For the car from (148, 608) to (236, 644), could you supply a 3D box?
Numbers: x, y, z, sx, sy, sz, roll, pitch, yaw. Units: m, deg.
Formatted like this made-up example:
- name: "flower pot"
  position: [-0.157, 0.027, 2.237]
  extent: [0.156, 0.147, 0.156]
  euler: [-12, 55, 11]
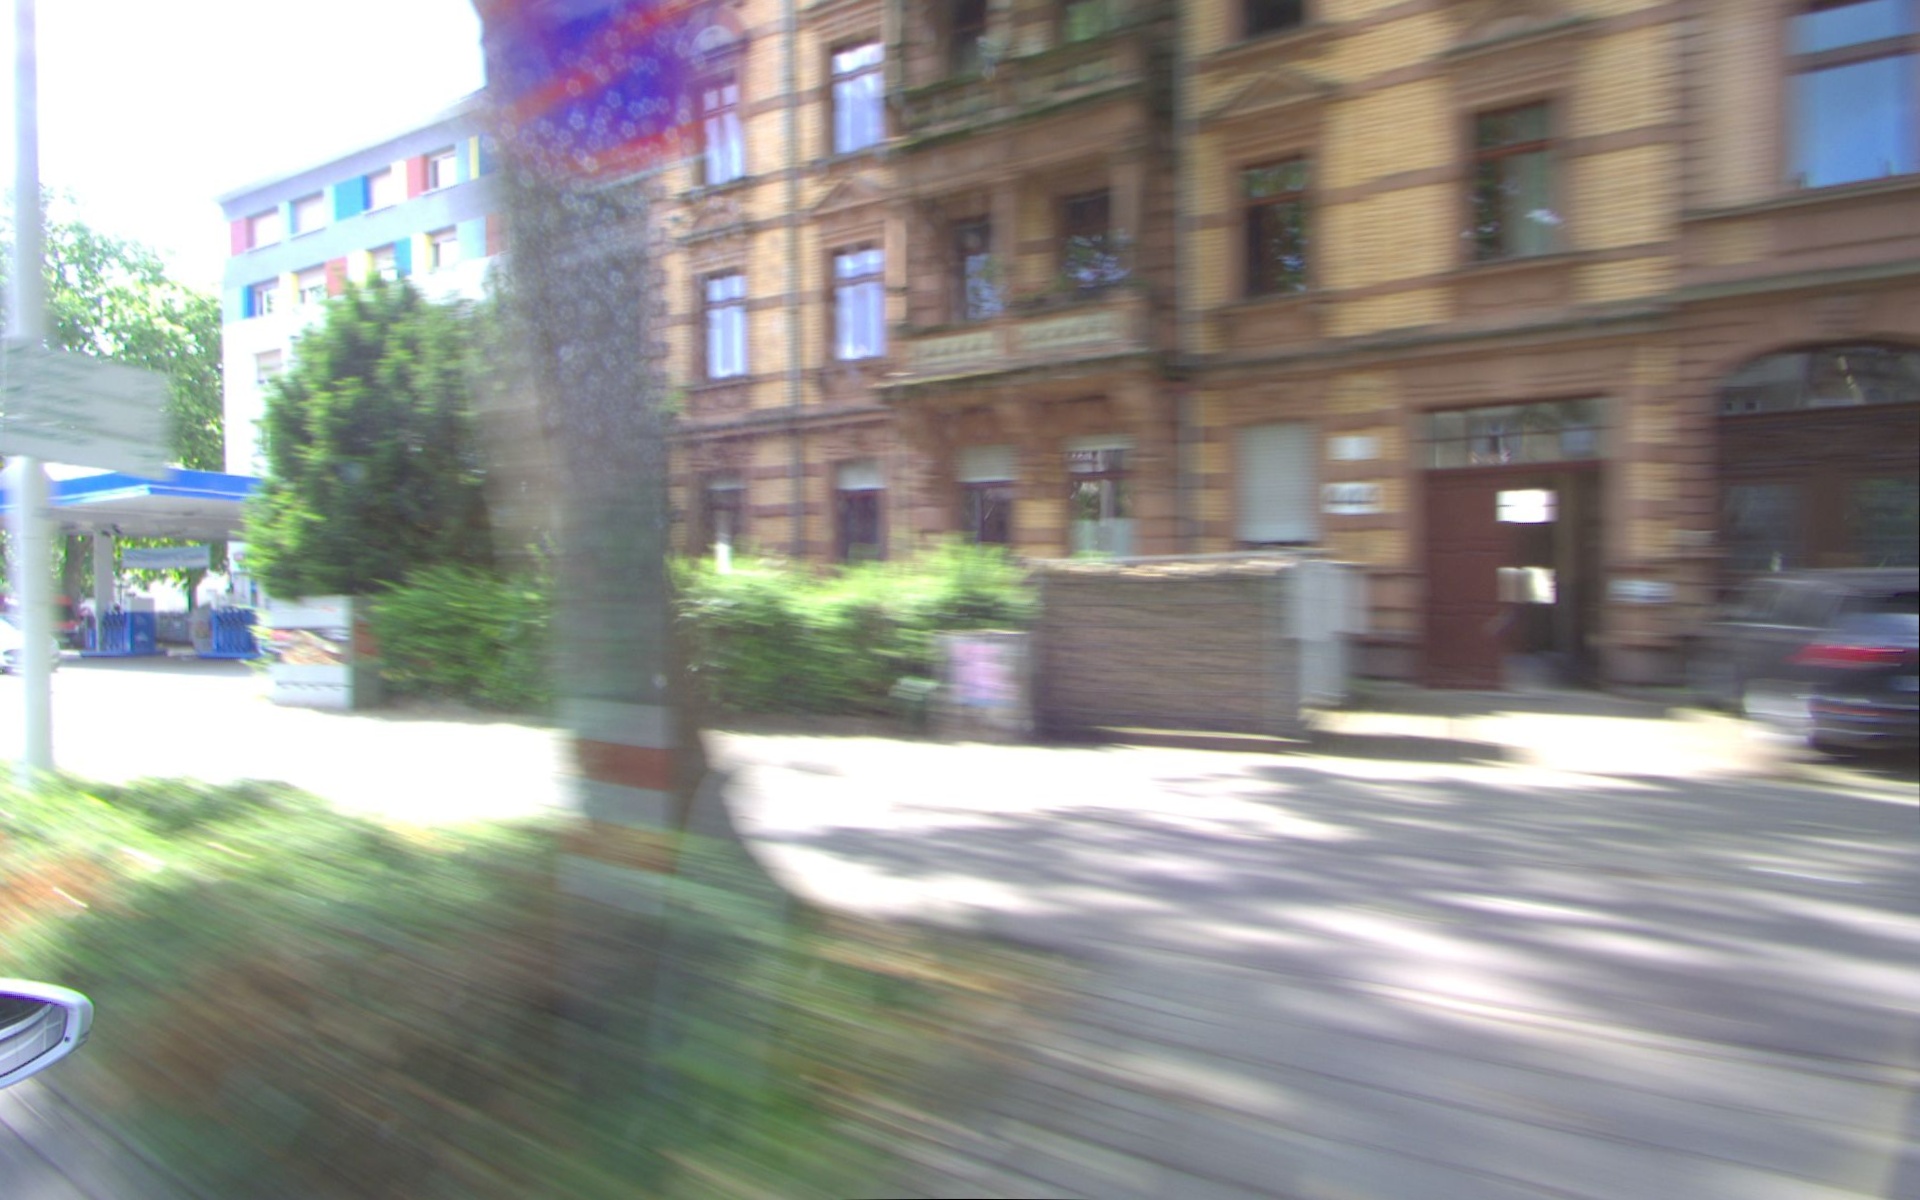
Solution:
- name: "car"
  position: [-39.193, 1.319, 51.088]
  extent: [4.583, 1.777, 2.004]
  euler: [0, -1, 30]

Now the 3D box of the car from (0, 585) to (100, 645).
- name: "car"
  position: [-42.486, 0.687, 46.461]
  extent: [5.929, 2.616, 2.108]
  euler: [0, 0, 30]

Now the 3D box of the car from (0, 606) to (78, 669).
- name: "car"
  position: [-23.717, 0.893, 24.613]
  extent: [3.939, 1.474, 1.804]
  euler: [-1, 0, 28]

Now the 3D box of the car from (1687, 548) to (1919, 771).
- name: "car"
  position: [7.631, 0.339, 8.389]
  extent: [1.912, 1.489, 4.229]
  euler: [-1, 1, 28]

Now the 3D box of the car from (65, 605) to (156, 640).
- name: "car"
  position: [-41.492, 1.096, 48.904]
  extent: [4.583, 1.672, 2.004]
  euler: [0, -1, 30]

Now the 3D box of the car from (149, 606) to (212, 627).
- name: "car"
  position: [-76.344, 1.590, 98.094]
  extent: [2.046, 2.040, 4.408]
  euler: [0, 0, 30]
